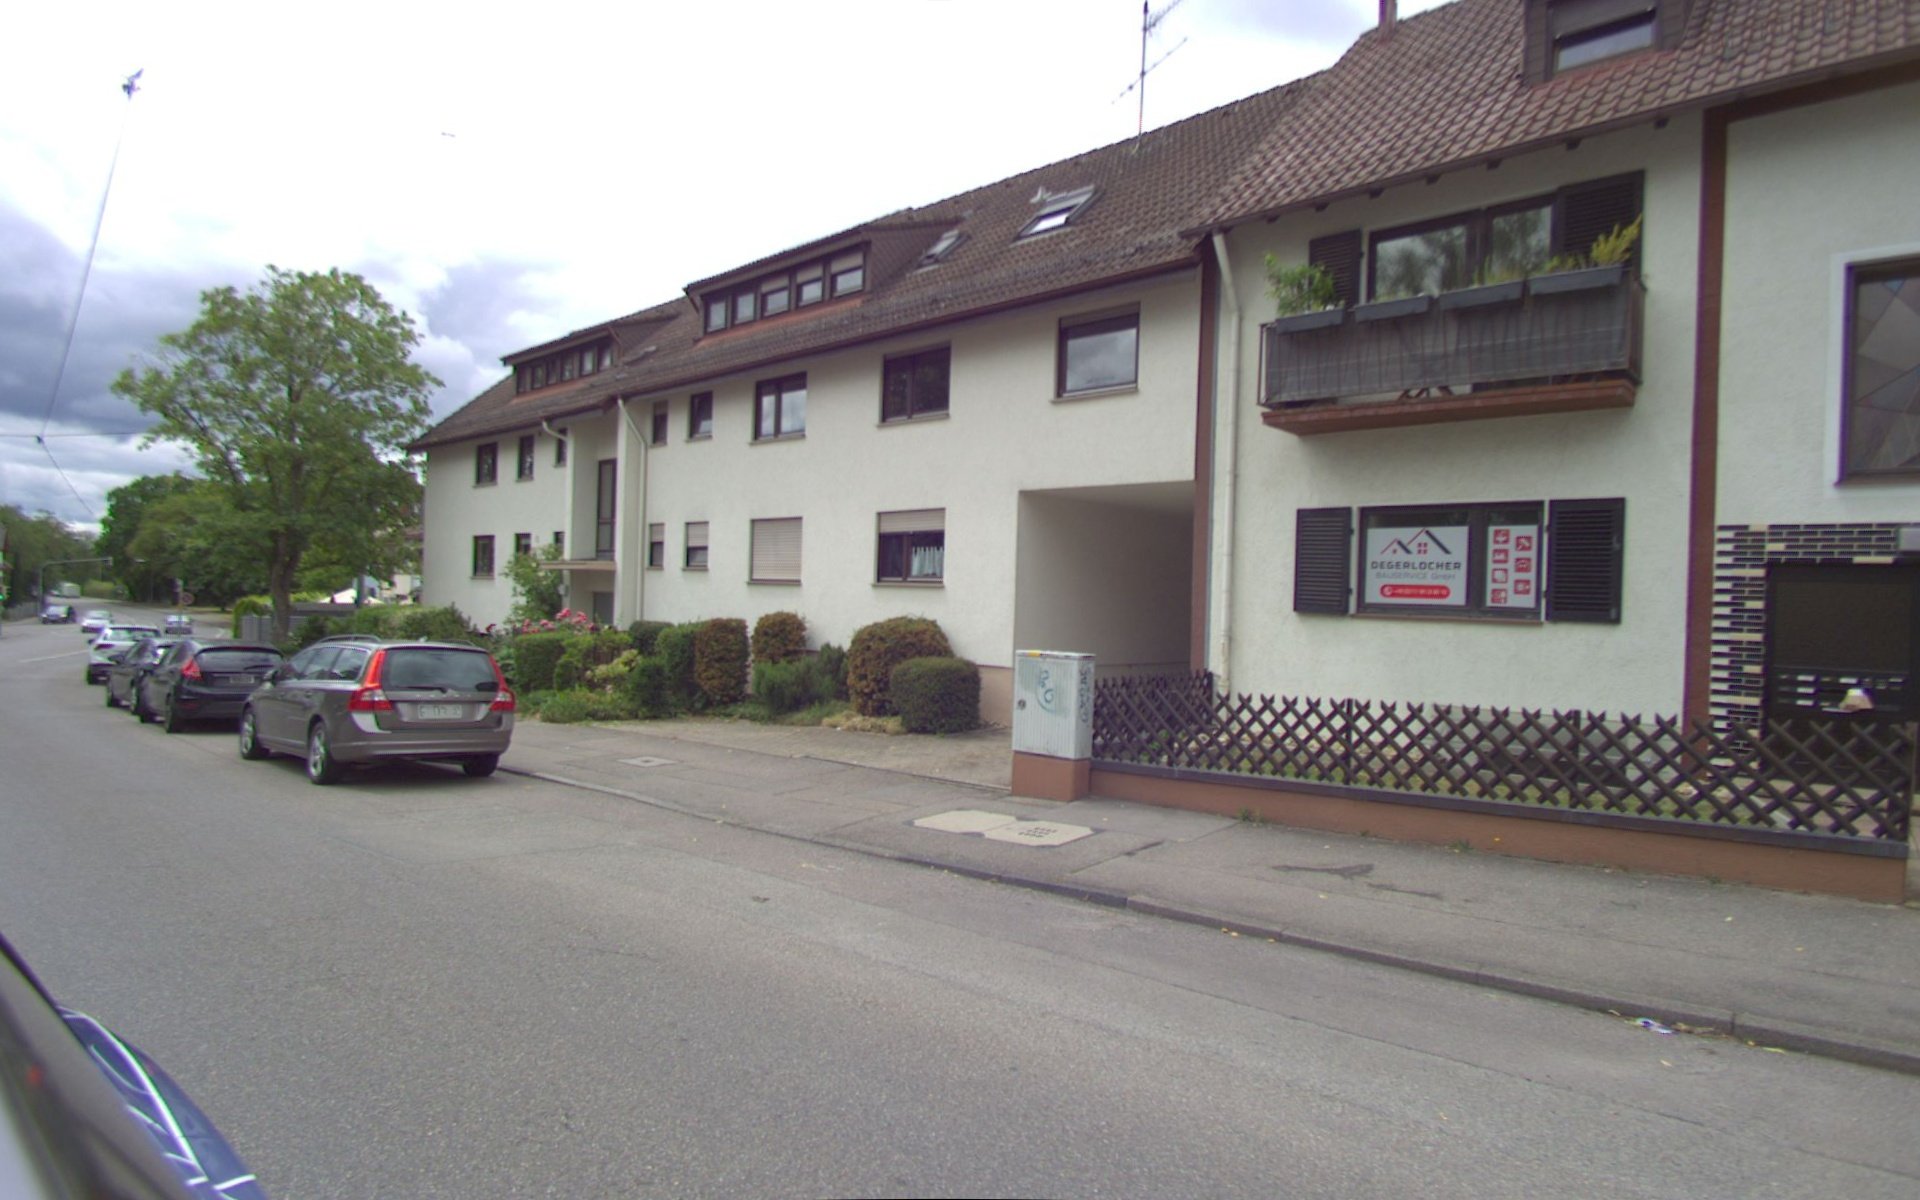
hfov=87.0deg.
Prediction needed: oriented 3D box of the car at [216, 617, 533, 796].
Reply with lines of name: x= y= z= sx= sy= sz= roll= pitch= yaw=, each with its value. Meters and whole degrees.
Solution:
car: x=-7.075 y=1.106 z=11.986 sx=4.786 sy=1.693 sz=1.827 roll=-1 pitch=-4 yaw=43

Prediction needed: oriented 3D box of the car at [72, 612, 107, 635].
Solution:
car: x=-64.756 y=1.695 z=75.299 sx=1.755 sy=1.530 sz=3.561 roll=-1 pitch=2 yaw=-44

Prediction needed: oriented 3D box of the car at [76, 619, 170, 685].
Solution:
car: x=-24.113 y=1.455 z=29.096 sx=1.827 sy=1.727 sz=4.580 roll=4 pitch=-3 yaw=-42

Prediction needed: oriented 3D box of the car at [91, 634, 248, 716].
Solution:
car: x=-15.959 y=1.449 z=20.371 sx=4.077 sy=1.449 sz=1.744 roll=-1 pitch=-4 yaw=42

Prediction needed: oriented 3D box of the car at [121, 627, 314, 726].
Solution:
car: x=-12.447 y=1.232 z=16.876 sx=4.077 sy=1.449 sz=1.743 roll=-1 pitch=-6 yaw=42

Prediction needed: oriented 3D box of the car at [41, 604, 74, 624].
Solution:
car: x=-81.025 y=1.236 z=90.876 sx=1.896 sy=1.530 sz=4.009 roll=2 pitch=1 yaw=-38
